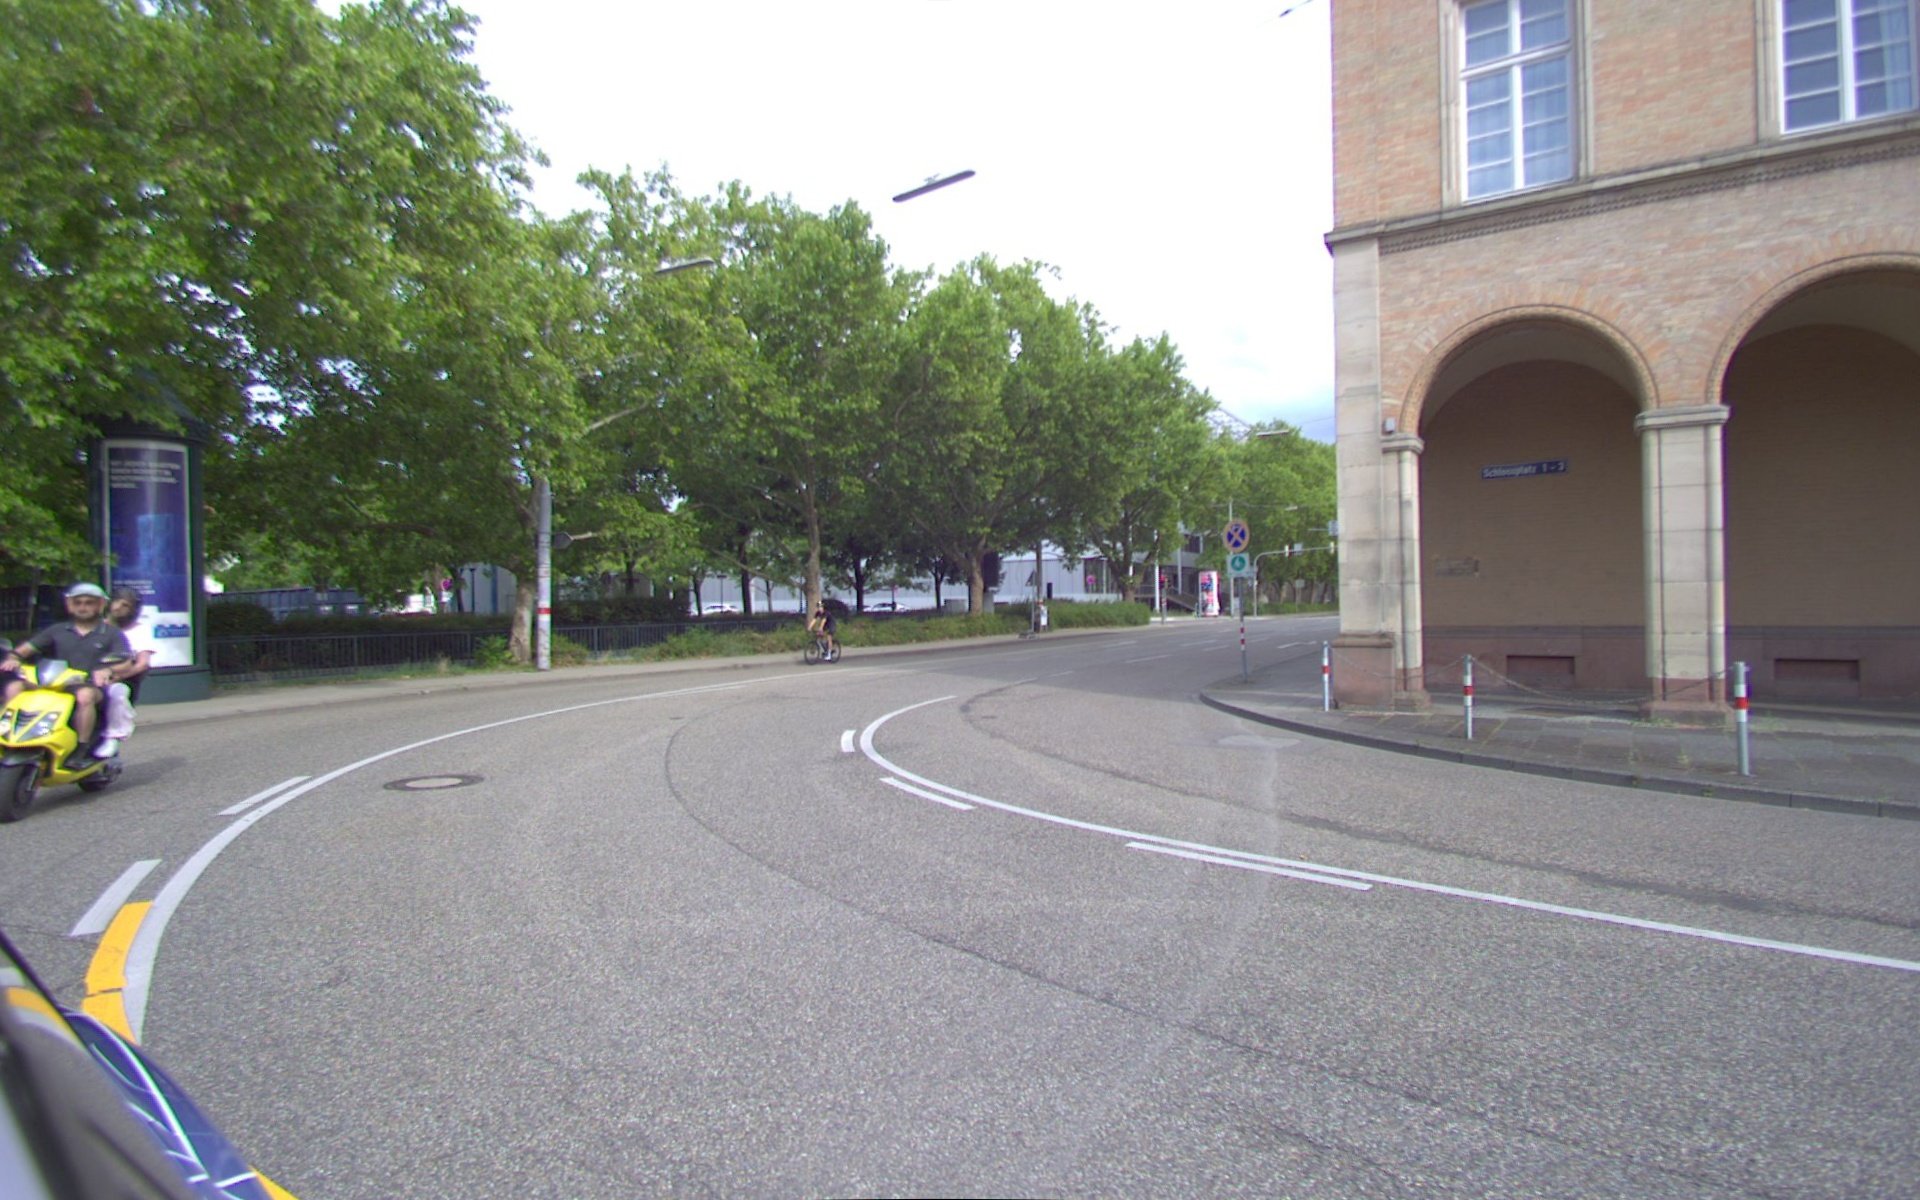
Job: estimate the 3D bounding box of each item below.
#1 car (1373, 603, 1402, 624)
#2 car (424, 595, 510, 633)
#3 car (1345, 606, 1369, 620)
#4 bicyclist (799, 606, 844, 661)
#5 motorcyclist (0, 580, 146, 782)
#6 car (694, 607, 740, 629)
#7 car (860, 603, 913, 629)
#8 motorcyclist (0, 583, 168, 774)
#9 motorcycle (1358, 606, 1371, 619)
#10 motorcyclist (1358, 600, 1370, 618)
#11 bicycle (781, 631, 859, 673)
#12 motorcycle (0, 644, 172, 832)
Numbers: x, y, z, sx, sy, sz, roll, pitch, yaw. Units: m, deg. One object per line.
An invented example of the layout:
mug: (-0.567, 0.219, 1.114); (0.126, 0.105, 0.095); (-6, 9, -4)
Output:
car: (31.778, 1.002, 75.211); (1.666, 1.449, 3.783); (-1, -1, 28)
car: (-36.732, 1.056, 75.583); (2.430, 2.633, 5.447); (-3, -2, 26)
car: (48.851, 1.559, 124.401); (1.993, 1.553, 4.227); (-4, -2, 31)
bicyclist: (-3.796, 0.923, 27.721); (0.781, 1.458, 0.905); (-3, -2, 29)
motorcyclist: (-6.774, 0.584, 7.594); (0.769, 1.438, 0.766); (0, -2, -14)
car: (-23.383, 1.721, 97.264); (3.851, 1.875, 1.940); (-3, -2, 20)
car: (-6.271, 1.388, 86.401); (3.976, 2.029, 1.983); (-3, -2, 25)
motorcyclist: (-6.934, 0.601, 8.049); (0.769, 1.438, 0.690); (0, -2, -15)
motorcycle: (38.870, 1.215, 97.272); (0.779, 1.187, 1.971); (-3, -3, 31)
motorcyclist: (38.848, 0.872, 97.274); (0.779, 1.674, 1.101); (-3, -3, 31)
bicycle: (-3.788, 1.412, 27.665); (0.769, 1.023, 2.382); (-3, -2, 31)
motorcycle: (-6.752, 0.936, 7.472); (0.769, 1.187, 1.998); (1, -2, -16)
